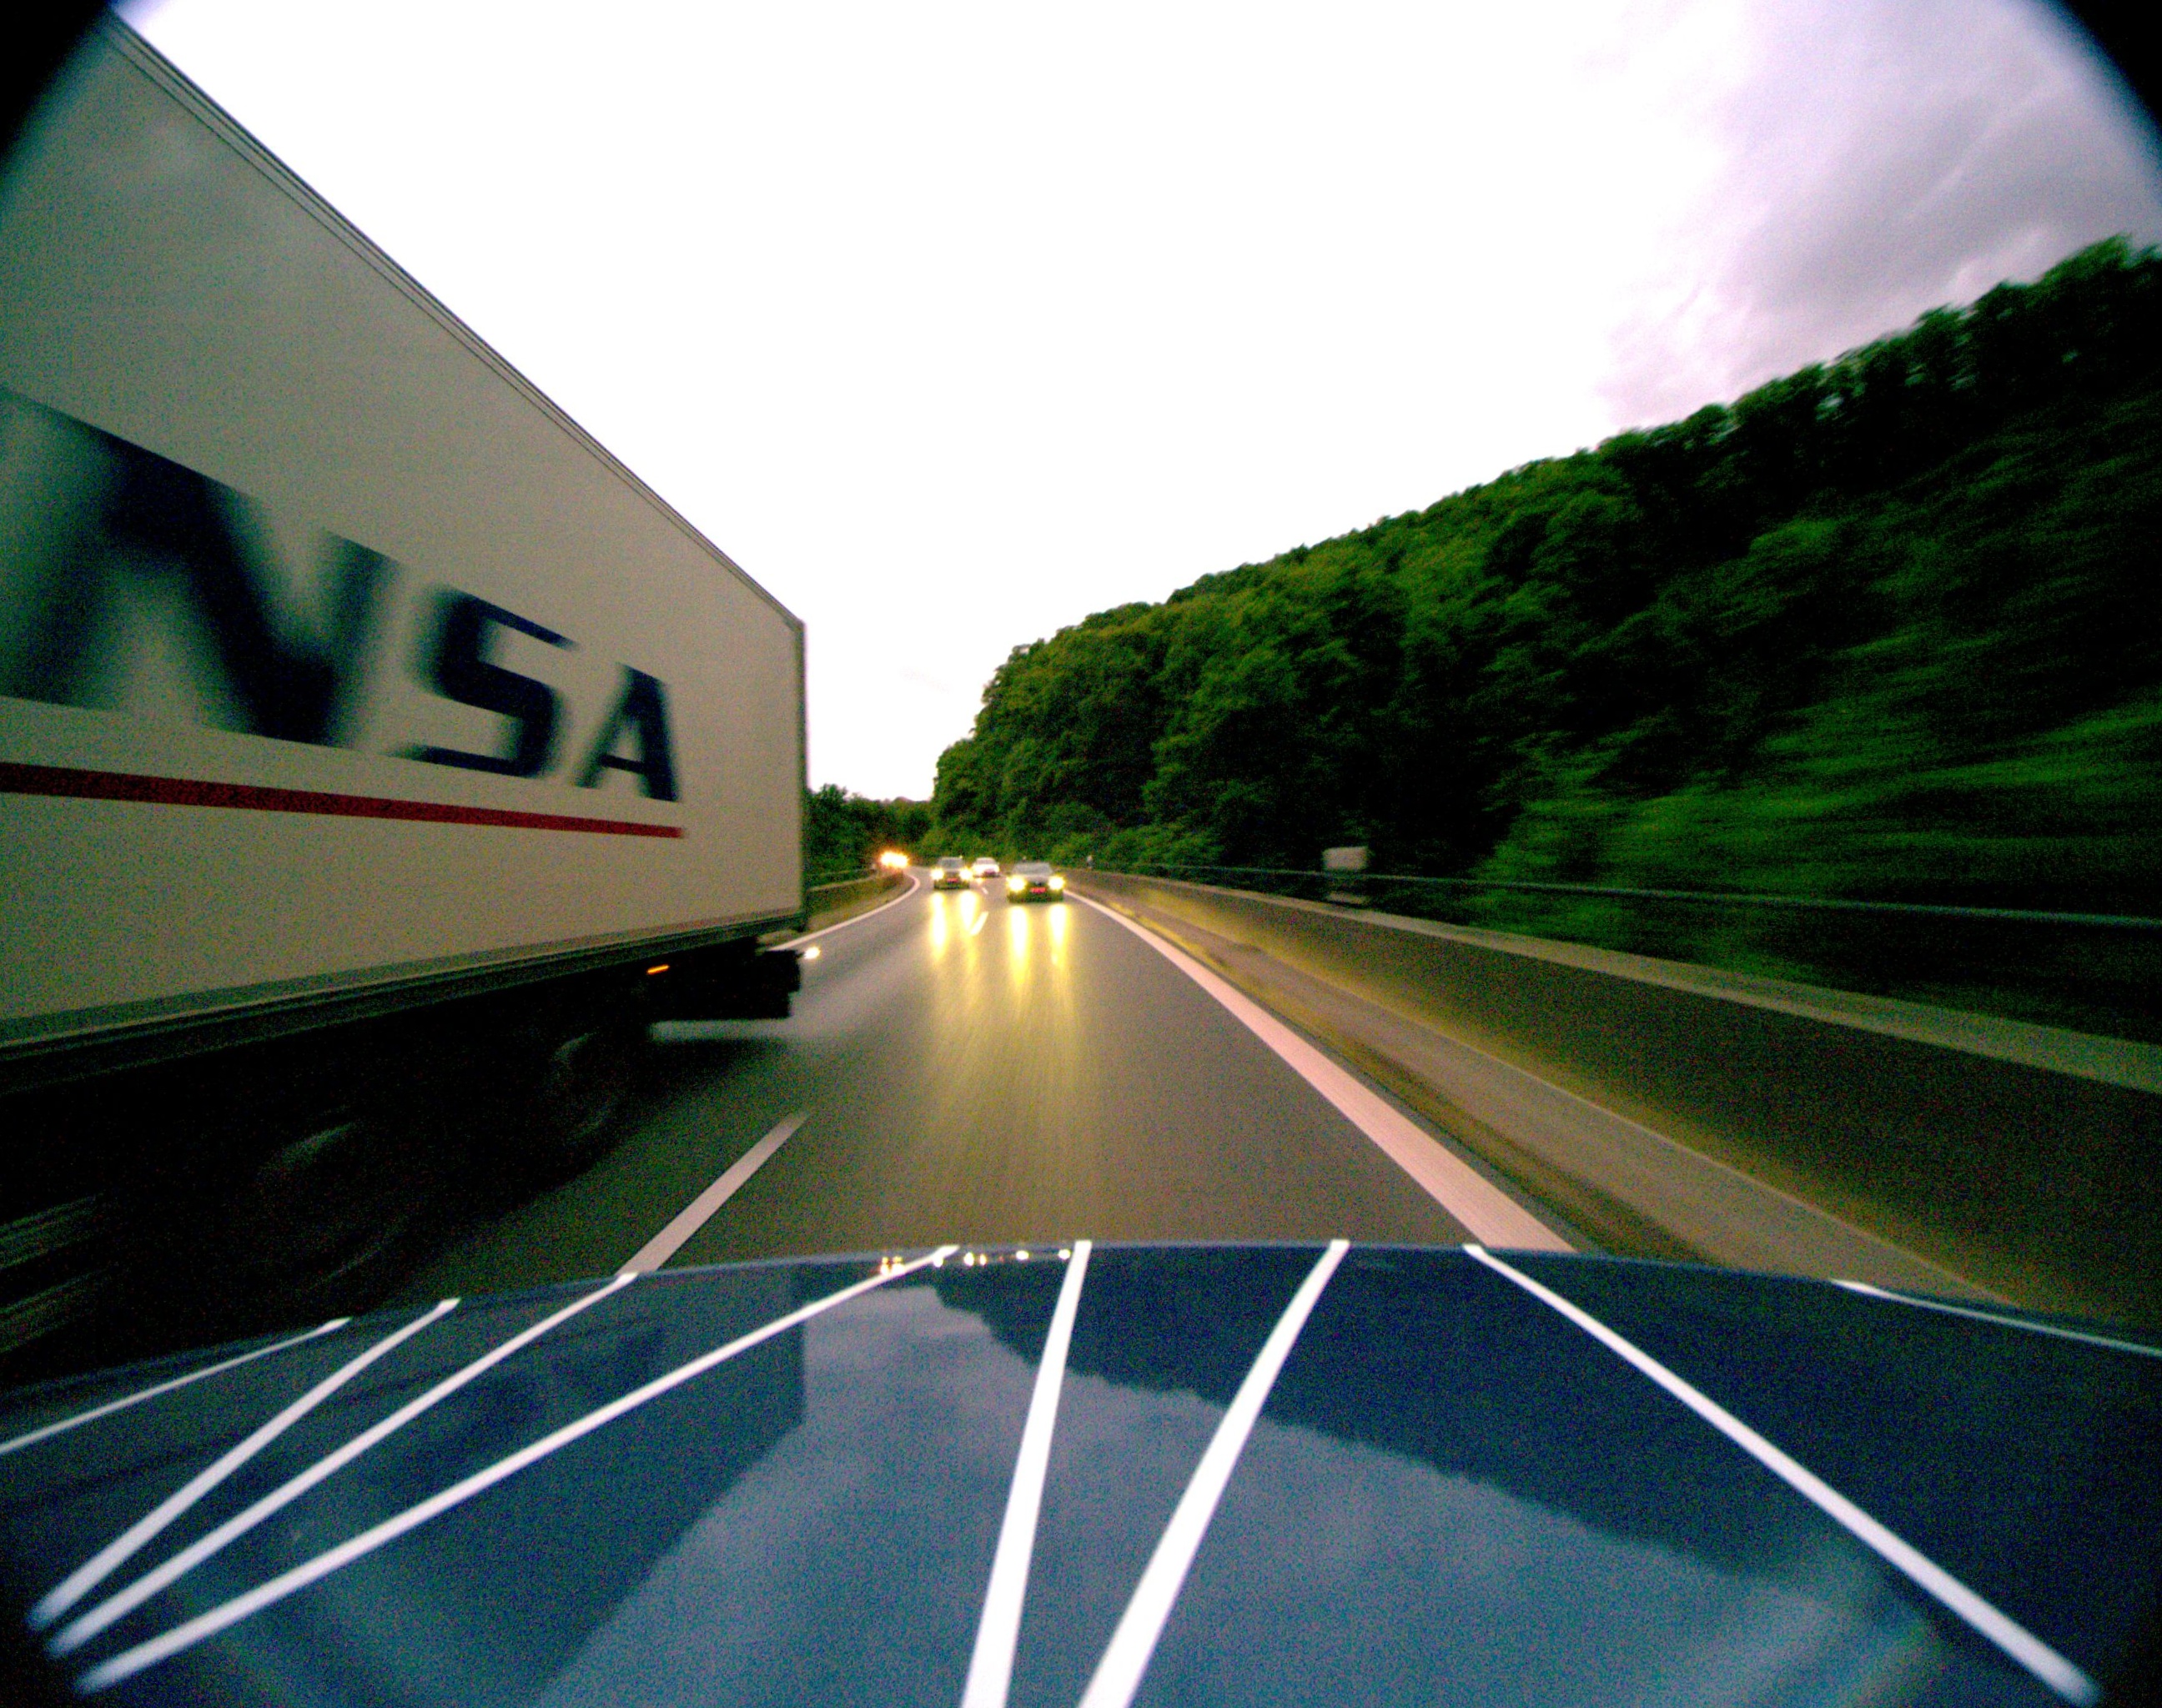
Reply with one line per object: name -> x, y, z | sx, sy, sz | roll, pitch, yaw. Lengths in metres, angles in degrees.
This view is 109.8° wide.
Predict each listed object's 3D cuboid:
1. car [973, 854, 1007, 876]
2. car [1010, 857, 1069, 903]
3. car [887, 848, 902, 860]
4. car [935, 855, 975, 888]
car -> -7.022, 0.797, 58.314 | 2.001, 1.499, 3.994 | 2, 0, -15
car -> -1.599, 0.911, 28.008 | 1.999, 1.499, 3.998 | -1, 0, -5
car -> -27.960, 0.061, 113.819 | 2.002, 1.608, 3.994 | 4, -1, -15
car -> -6.689, 0.903, 40.578 | 2.000, 1.630, 3.997 | -1, 0, -8
